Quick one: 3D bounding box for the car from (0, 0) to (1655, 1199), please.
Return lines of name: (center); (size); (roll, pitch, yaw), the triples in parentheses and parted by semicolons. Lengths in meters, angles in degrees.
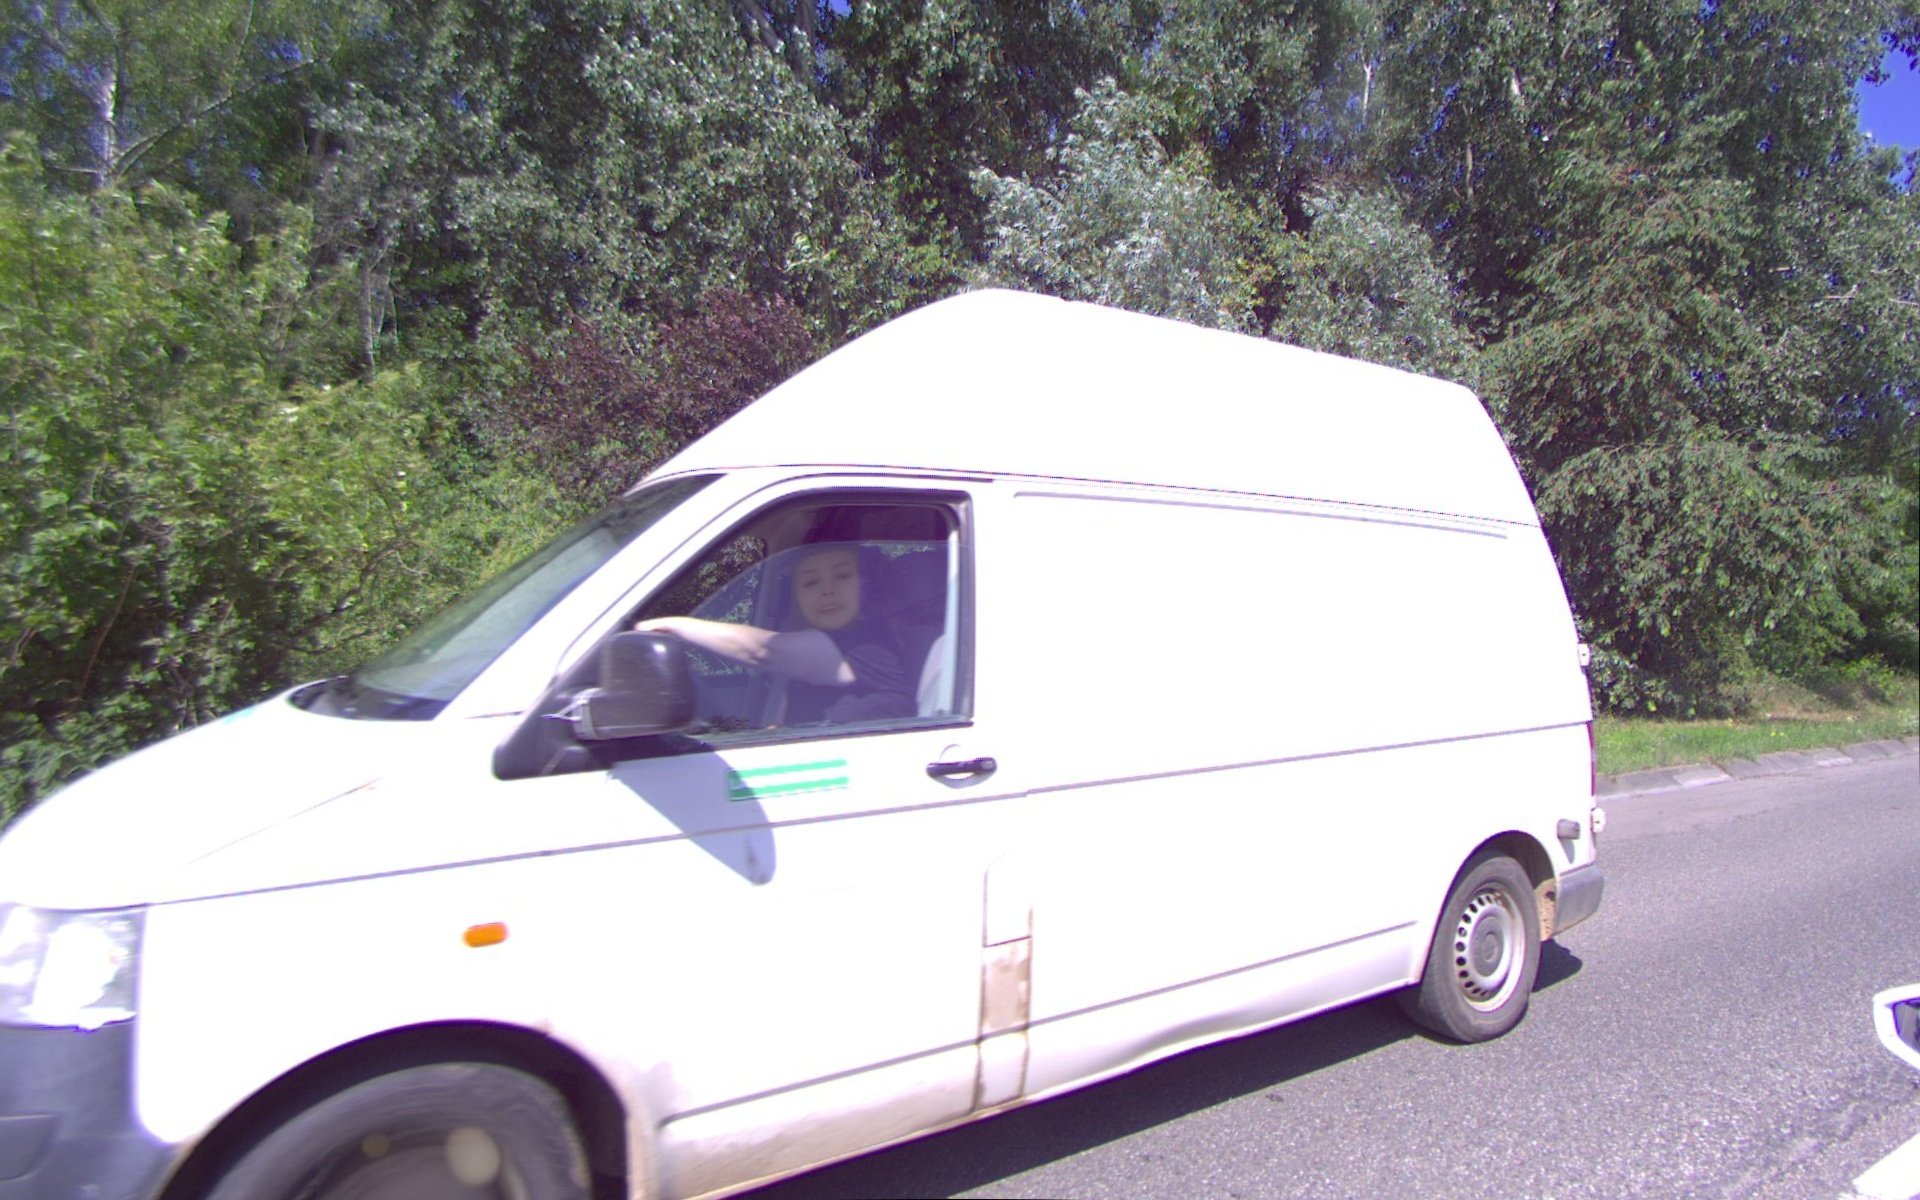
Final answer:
car: (0.200, 0.270, 3.534); (4.854, 2.432, 1.902); (1, -1, -31)
